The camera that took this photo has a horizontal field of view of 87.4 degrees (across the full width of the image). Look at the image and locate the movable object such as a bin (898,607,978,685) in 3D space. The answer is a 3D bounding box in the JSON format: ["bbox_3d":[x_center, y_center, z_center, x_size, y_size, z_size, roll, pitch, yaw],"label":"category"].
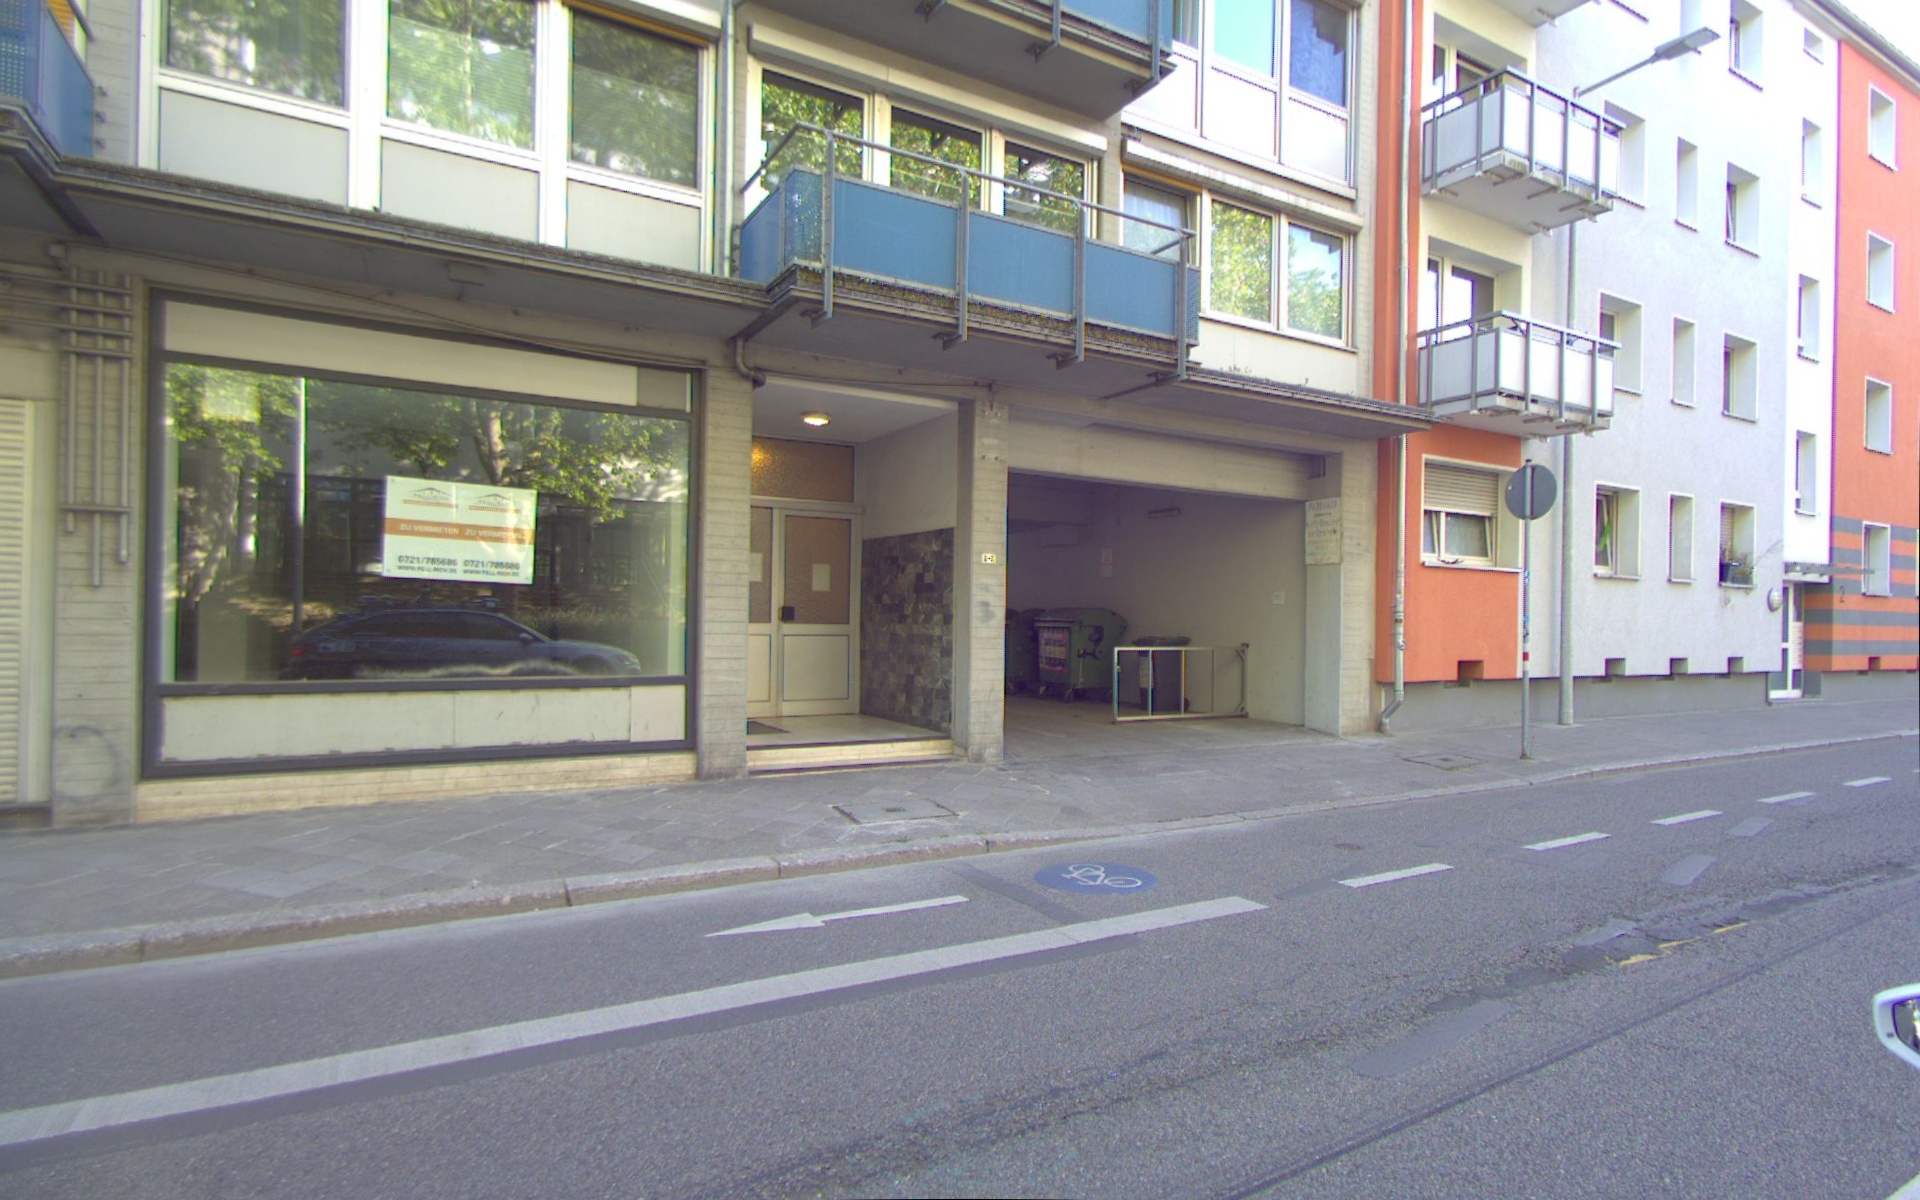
[{"bbox_3d":[-0.448,0.874,19.613,1.116,1.444,1.201,1,0,-30],"label":"movable object such as a bin"}]

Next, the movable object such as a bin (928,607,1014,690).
[{"bbox_3d":[0.200,0.867,18.464,1.116,1.444,1.201,1,0,-30],"label":"movable object such as a bin"}]

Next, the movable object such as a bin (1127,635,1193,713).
[{"bbox_3d":[2.880,1.049,14.497,0.667,1.079,0.639,1,0,-30],"label":"movable object such as a bin"}]

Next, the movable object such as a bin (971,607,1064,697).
[{"bbox_3d":[0.970,0.861,17.166,1.116,1.444,1.201,1,0,-30],"label":"movable object such as a bin"}]

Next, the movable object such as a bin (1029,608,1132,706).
[{"bbox_3d":[1.882,0.867,15.807,1.116,1.444,1.201,1,0,-30],"label":"movable object such as a bin"}]
